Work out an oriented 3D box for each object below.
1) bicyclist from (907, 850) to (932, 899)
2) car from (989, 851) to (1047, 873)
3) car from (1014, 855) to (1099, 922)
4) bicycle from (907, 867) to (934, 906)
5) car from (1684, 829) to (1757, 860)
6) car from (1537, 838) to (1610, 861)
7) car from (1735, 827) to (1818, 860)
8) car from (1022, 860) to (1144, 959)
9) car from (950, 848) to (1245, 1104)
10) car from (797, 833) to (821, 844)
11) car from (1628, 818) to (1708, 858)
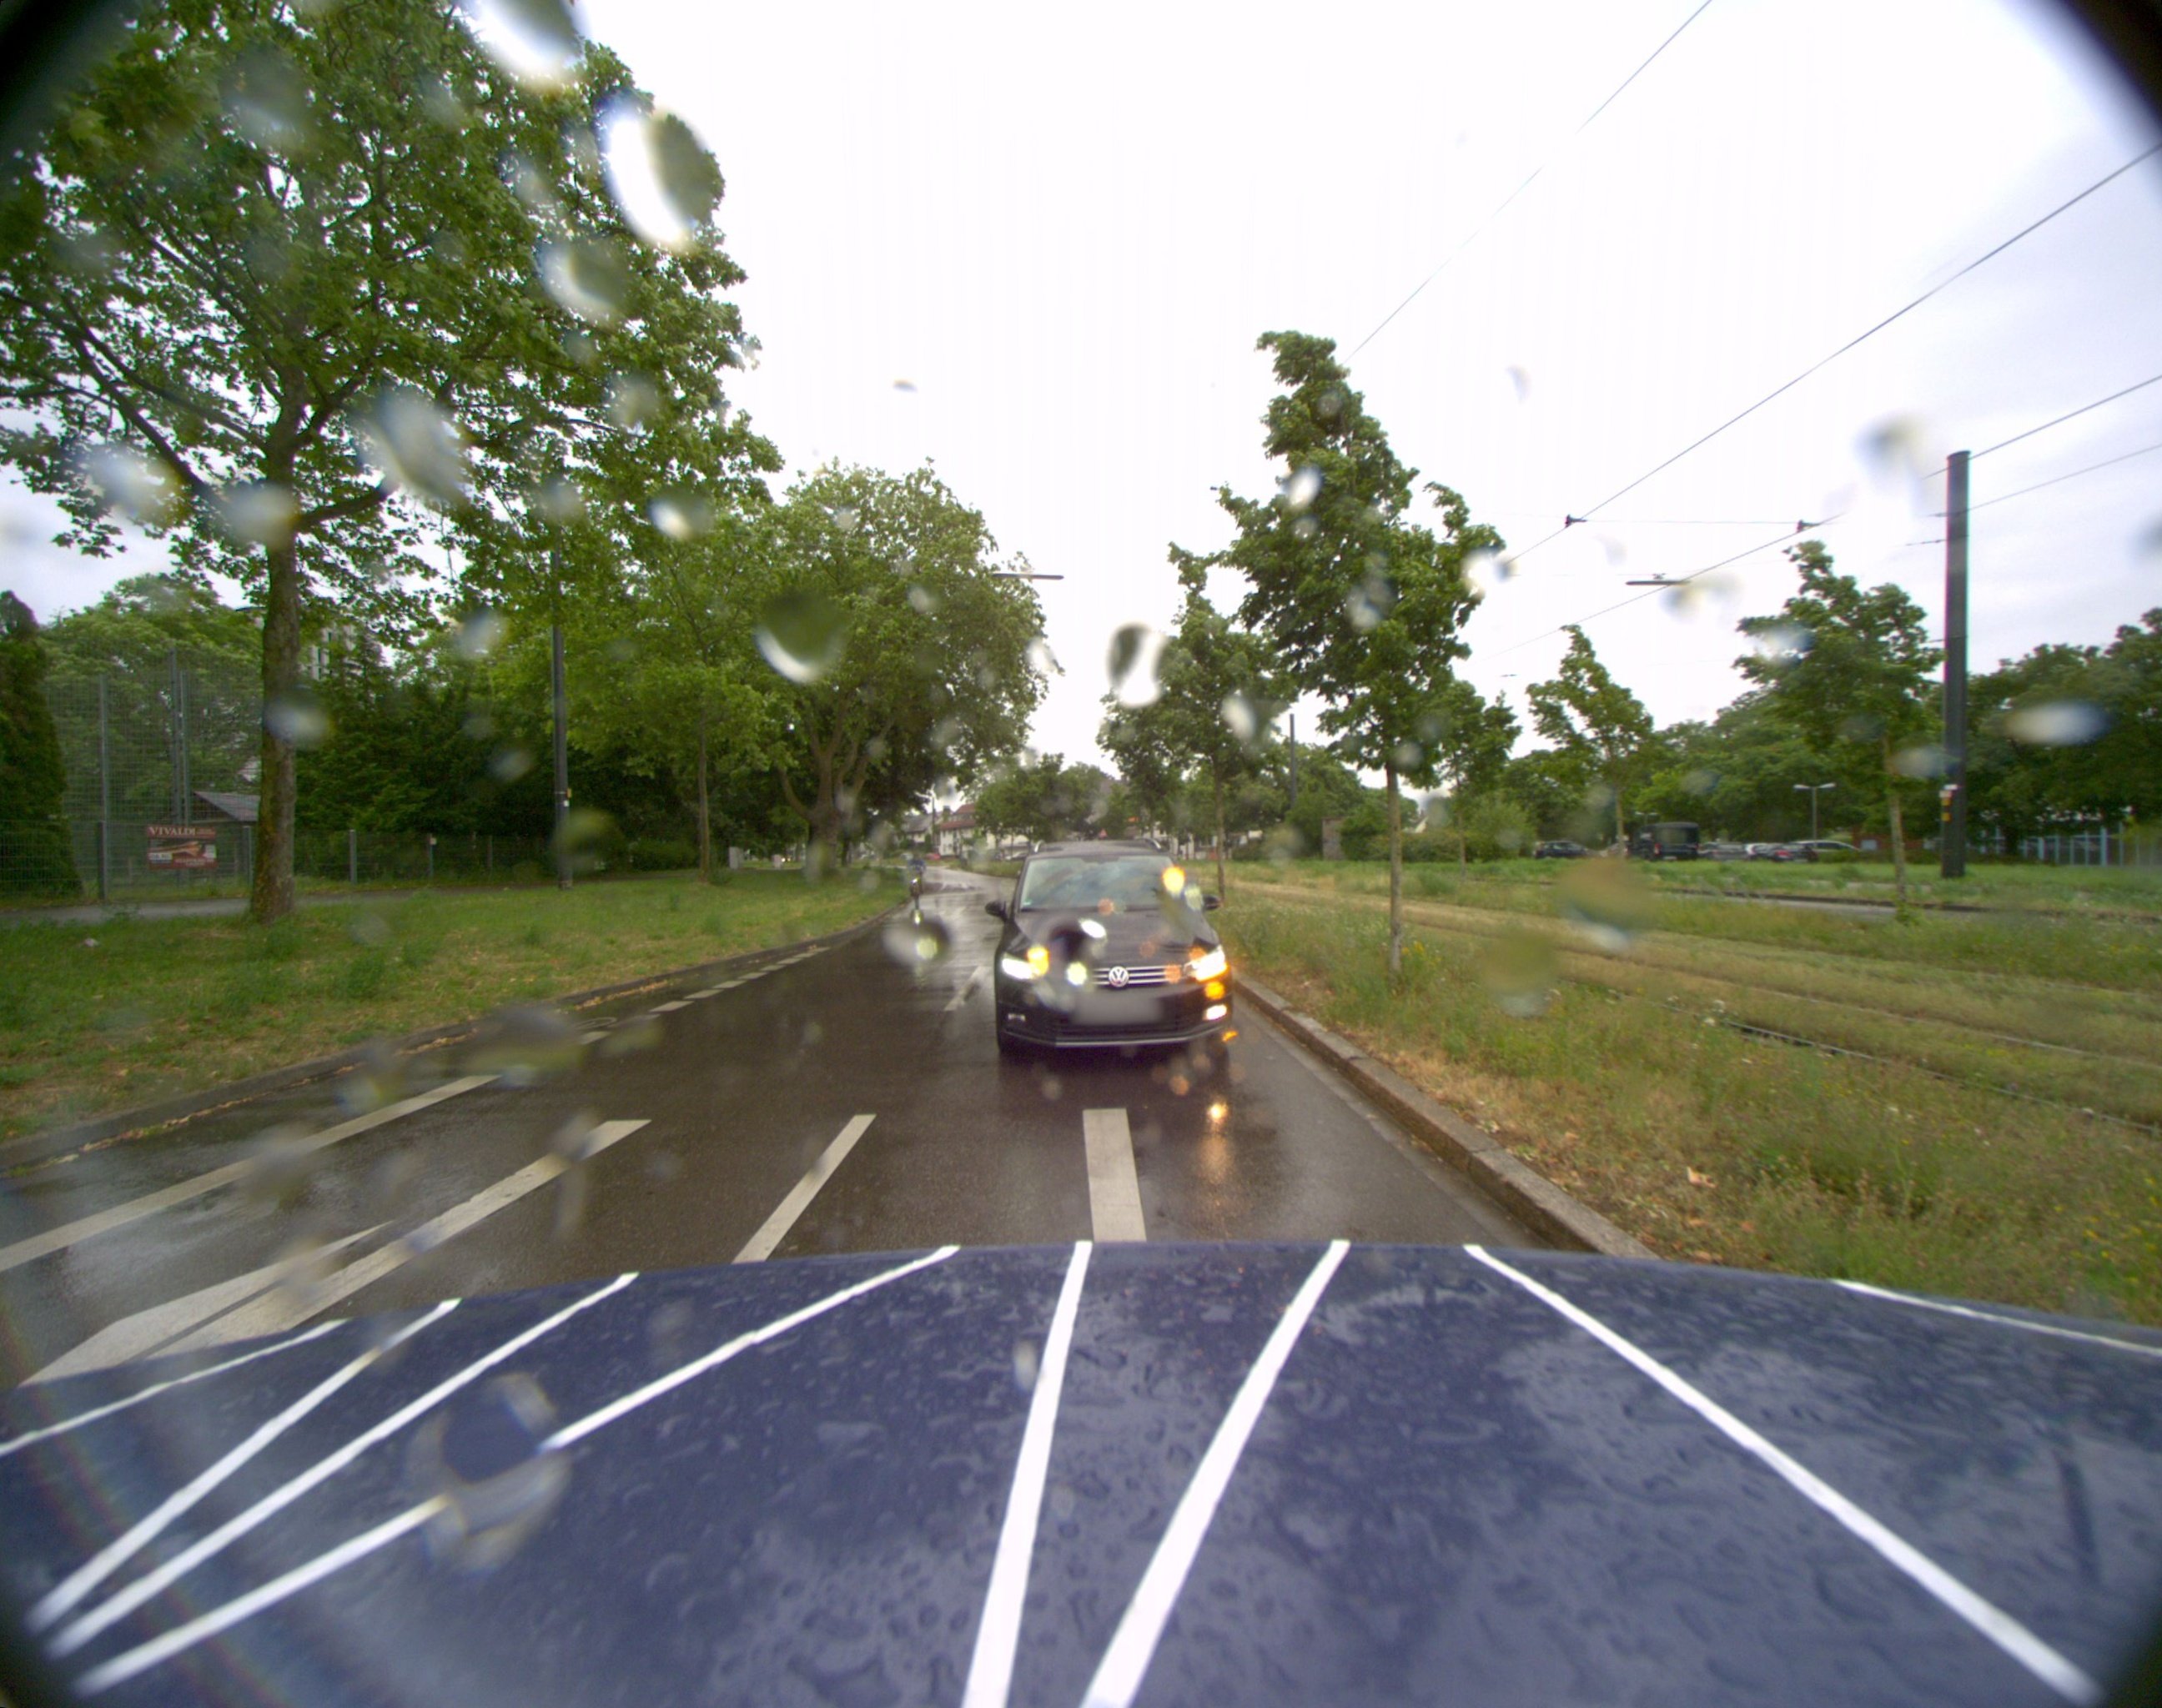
[{"bbox_3d":[-5.205,0.643,24.508,0.693,1.497,0.843,-2,2,-8],"label":"bicyclist"},{"bbox_3d":[-4.654,0.561,55.561,4.046,1.412,1.674,-2,1,-10],"label":"car"},{"bbox_3d":[-0.714,0.784,19.092,1.789,1.396,3.791,-2,1,-6],"label":"car"},{"bbox_3d":[-5.161,1.030,24.528,0.693,1.110,1.883,-2,1,-8],"label":"bicycle"},{"bbox_3d":[34.637,-0.542,41.285,1.752,1.522,4.856,-2,1,24],"label":"car"},{"bbox_3d":[34.778,-0.293,53.806,4.172,1.474,1.786,-2,1,27],"label":"car"},{"bbox_3d":[36.565,-0.602,40.102,2.057,1.564,5.024,-2,1,29],"label":"car"},{"bbox_3d":[-0.038,0.844,13.425,1.788,1.355,3.996,-2,1,-2],"label":"car"},{"bbox_3d":[0.134,0.780,7.208,1.866,1.592,4.524,-2,1,1],"label":"car"},{"bbox_3d":[-51.643,-2.973,144.161,4.004,1.816,1.996,-3,1,-24],"label":"car"},{"bbox_3d":[31.997,-0.885,41.603,2.307,2.002,5.125,-2,1,24],"label":"car"}]
